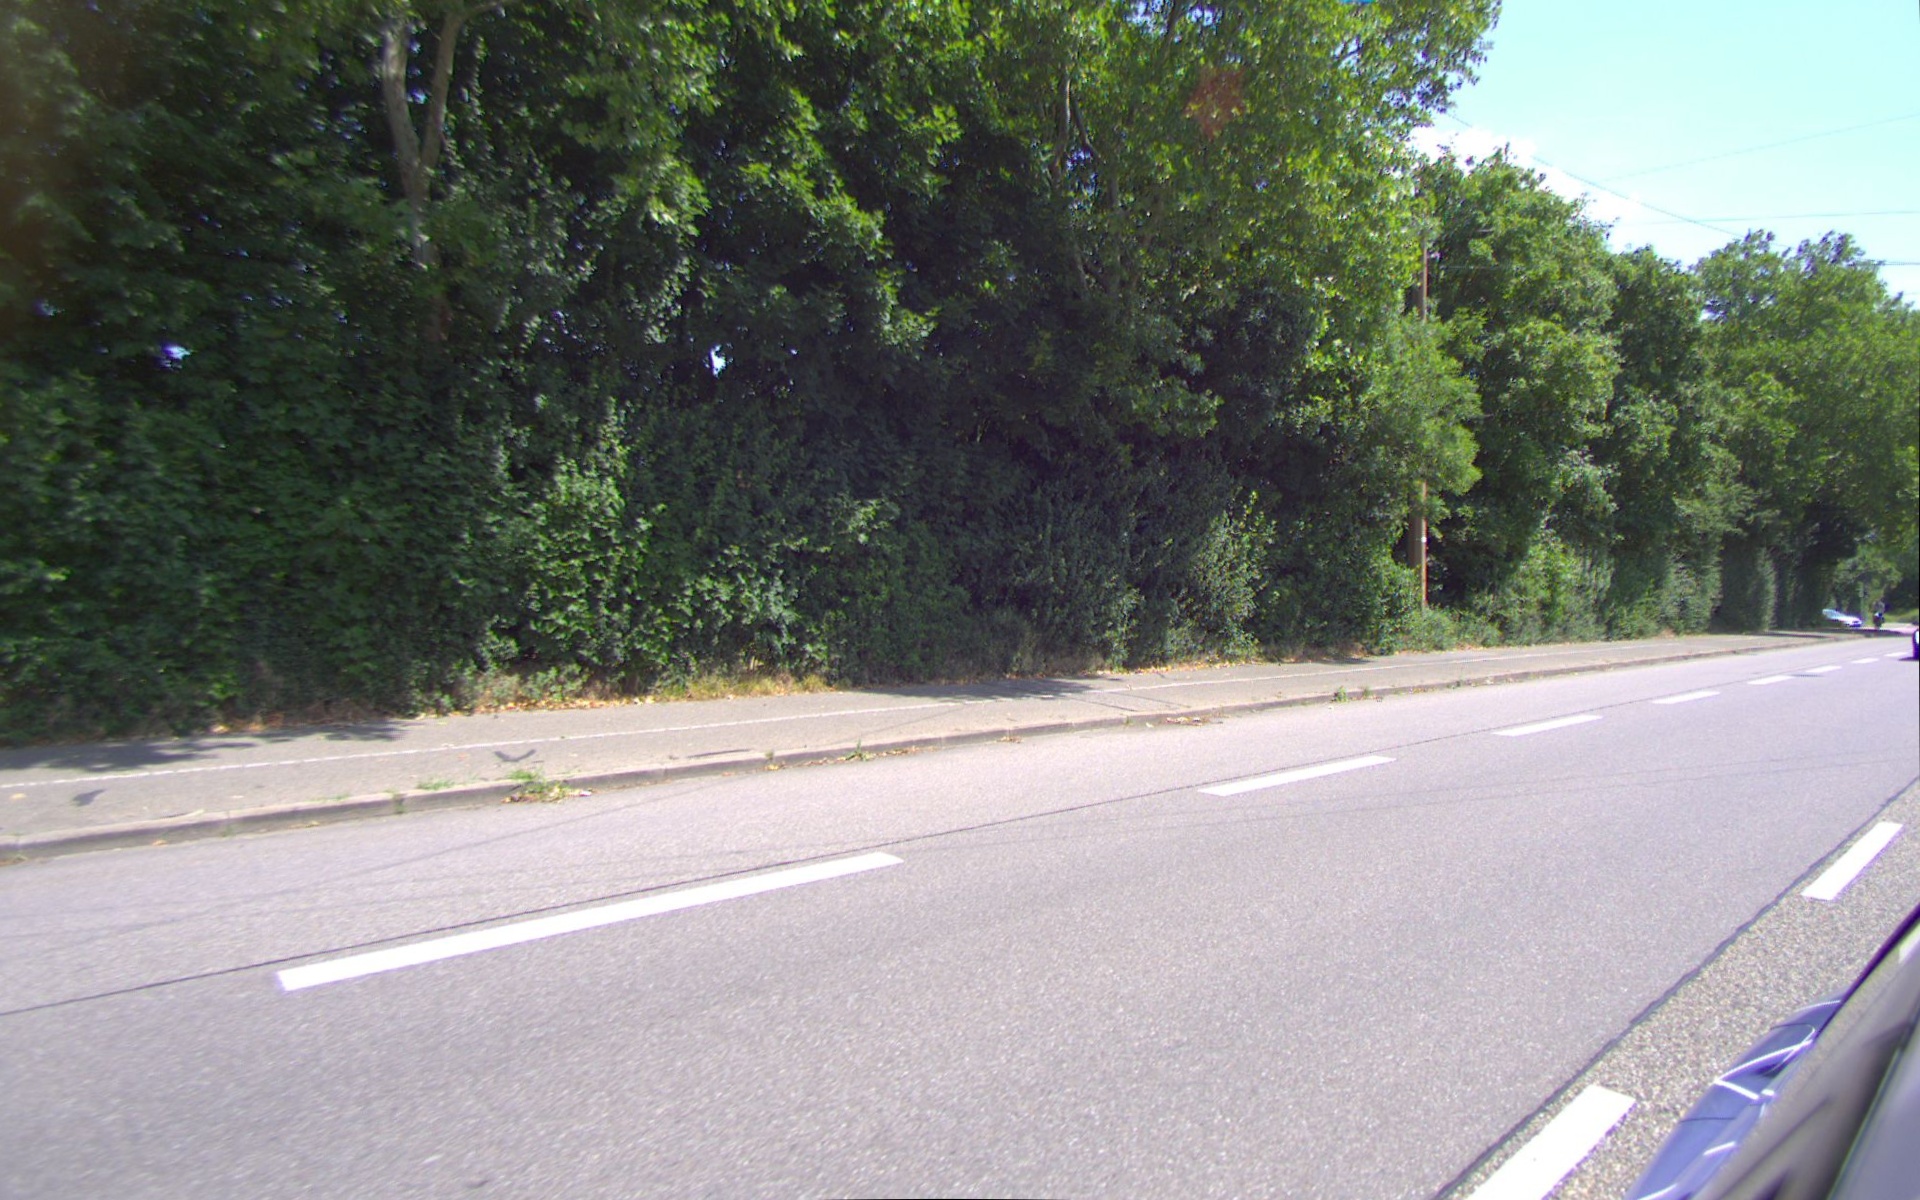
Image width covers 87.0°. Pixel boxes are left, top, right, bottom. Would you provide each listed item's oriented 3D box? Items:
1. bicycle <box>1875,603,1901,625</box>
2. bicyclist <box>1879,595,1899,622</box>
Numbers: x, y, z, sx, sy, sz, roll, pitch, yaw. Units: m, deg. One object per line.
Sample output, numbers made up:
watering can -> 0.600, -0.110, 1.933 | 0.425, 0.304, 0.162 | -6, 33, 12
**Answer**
bicycle -> 51.584, 0.770, 56.245 | 2.492, 1.152, 0.710 | 0, 1, -39
bicyclist -> 51.665, 0.478, 56.281 | 0.629, 1.457, 0.704 | 1, 1, -39
